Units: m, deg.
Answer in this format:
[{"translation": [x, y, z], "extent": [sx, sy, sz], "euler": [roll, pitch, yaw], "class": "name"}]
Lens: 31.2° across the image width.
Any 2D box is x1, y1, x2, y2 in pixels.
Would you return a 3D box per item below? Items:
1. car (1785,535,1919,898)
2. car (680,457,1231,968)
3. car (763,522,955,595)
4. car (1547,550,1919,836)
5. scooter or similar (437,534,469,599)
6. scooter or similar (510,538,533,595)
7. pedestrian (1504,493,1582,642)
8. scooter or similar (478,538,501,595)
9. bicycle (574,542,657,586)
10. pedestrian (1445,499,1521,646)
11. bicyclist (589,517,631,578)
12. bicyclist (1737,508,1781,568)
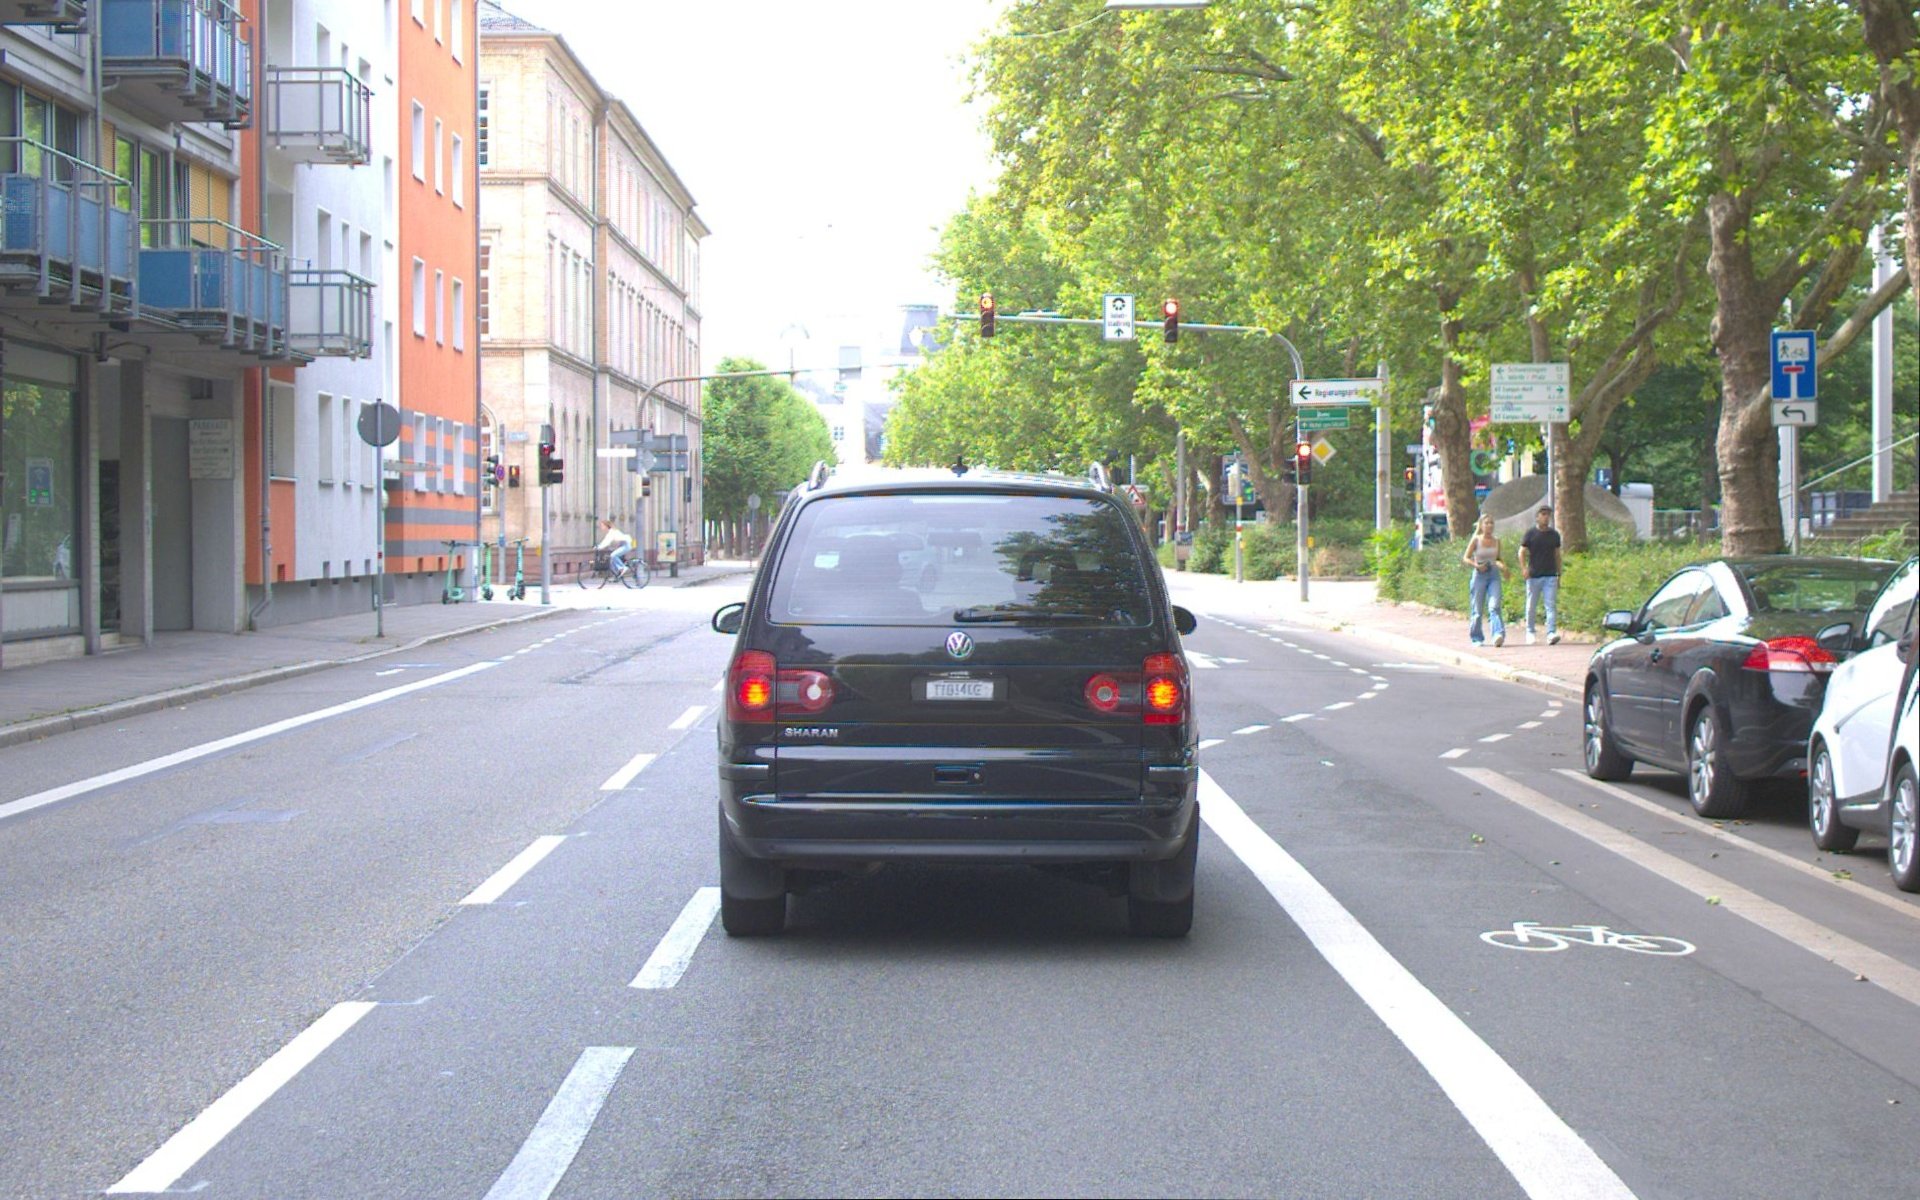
[{"translation": [4.851, 0.490, 15.825], "extent": [1.536, 1.538, 2.599], "euler": [2, 1, 3], "class": "car"}, {"translation": [-0.048, 0.329, 14.023], "extent": [1.874, 1.739, 4.574], "euler": [0, 1, -1], "class": "car"}, {"translation": [-2.132, -0.895, 73.296], "extent": [1.761, 1.422, 4.089], "euler": [0, 2, 41], "class": "car"}, {"translation": [4.752, 0.459, 19.980], "extent": [1.697, 1.420, 4.423], "euler": [2, 1, -3], "class": "car"}, {"translation": [-9.330, -0.610, 63.281], "extent": [0.378, 1.179, 1.390], "euler": [0, 0, 0], "class": "scooter or similar"}, {"translation": [-8.930, -0.676, 70.001], "extent": [0.378, 1.140, 1.142], "euler": [0, 0, -4], "class": "scooter or similar"}, {"translation": [7.181, -0.402, 42.391], "extent": [0.715, 1.794, 1.034], "euler": [-2, 1, -1], "class": "pedestrian"}, {"translation": [-9.518, -0.678, 69.499], "extent": [0.378, 1.143, 1.142], "euler": [0, 0, -4], "class": "scooter or similar"}, {"translation": [-8.305, -0.876, 82.869], "extent": [1.924, 1.025, 0.583], "euler": [1, 1, -13], "class": "bicycle"}, {"translation": [6.460, -0.342, 42.480], "extent": [0.710, 1.777, 1.034], "euler": [-2, 1, -1], "class": "pedestrian"}, {"translation": [-8.436, -1.261, 82.828], "extent": [0.914, 1.461, 0.570], "euler": [1, 1, -12], "class": "bicyclist"}, {"translation": [19.770, -1.536, 85.117], "extent": [0.914, 1.488, 0.626], "euler": [0, 1, -4], "class": "bicyclist"}]
